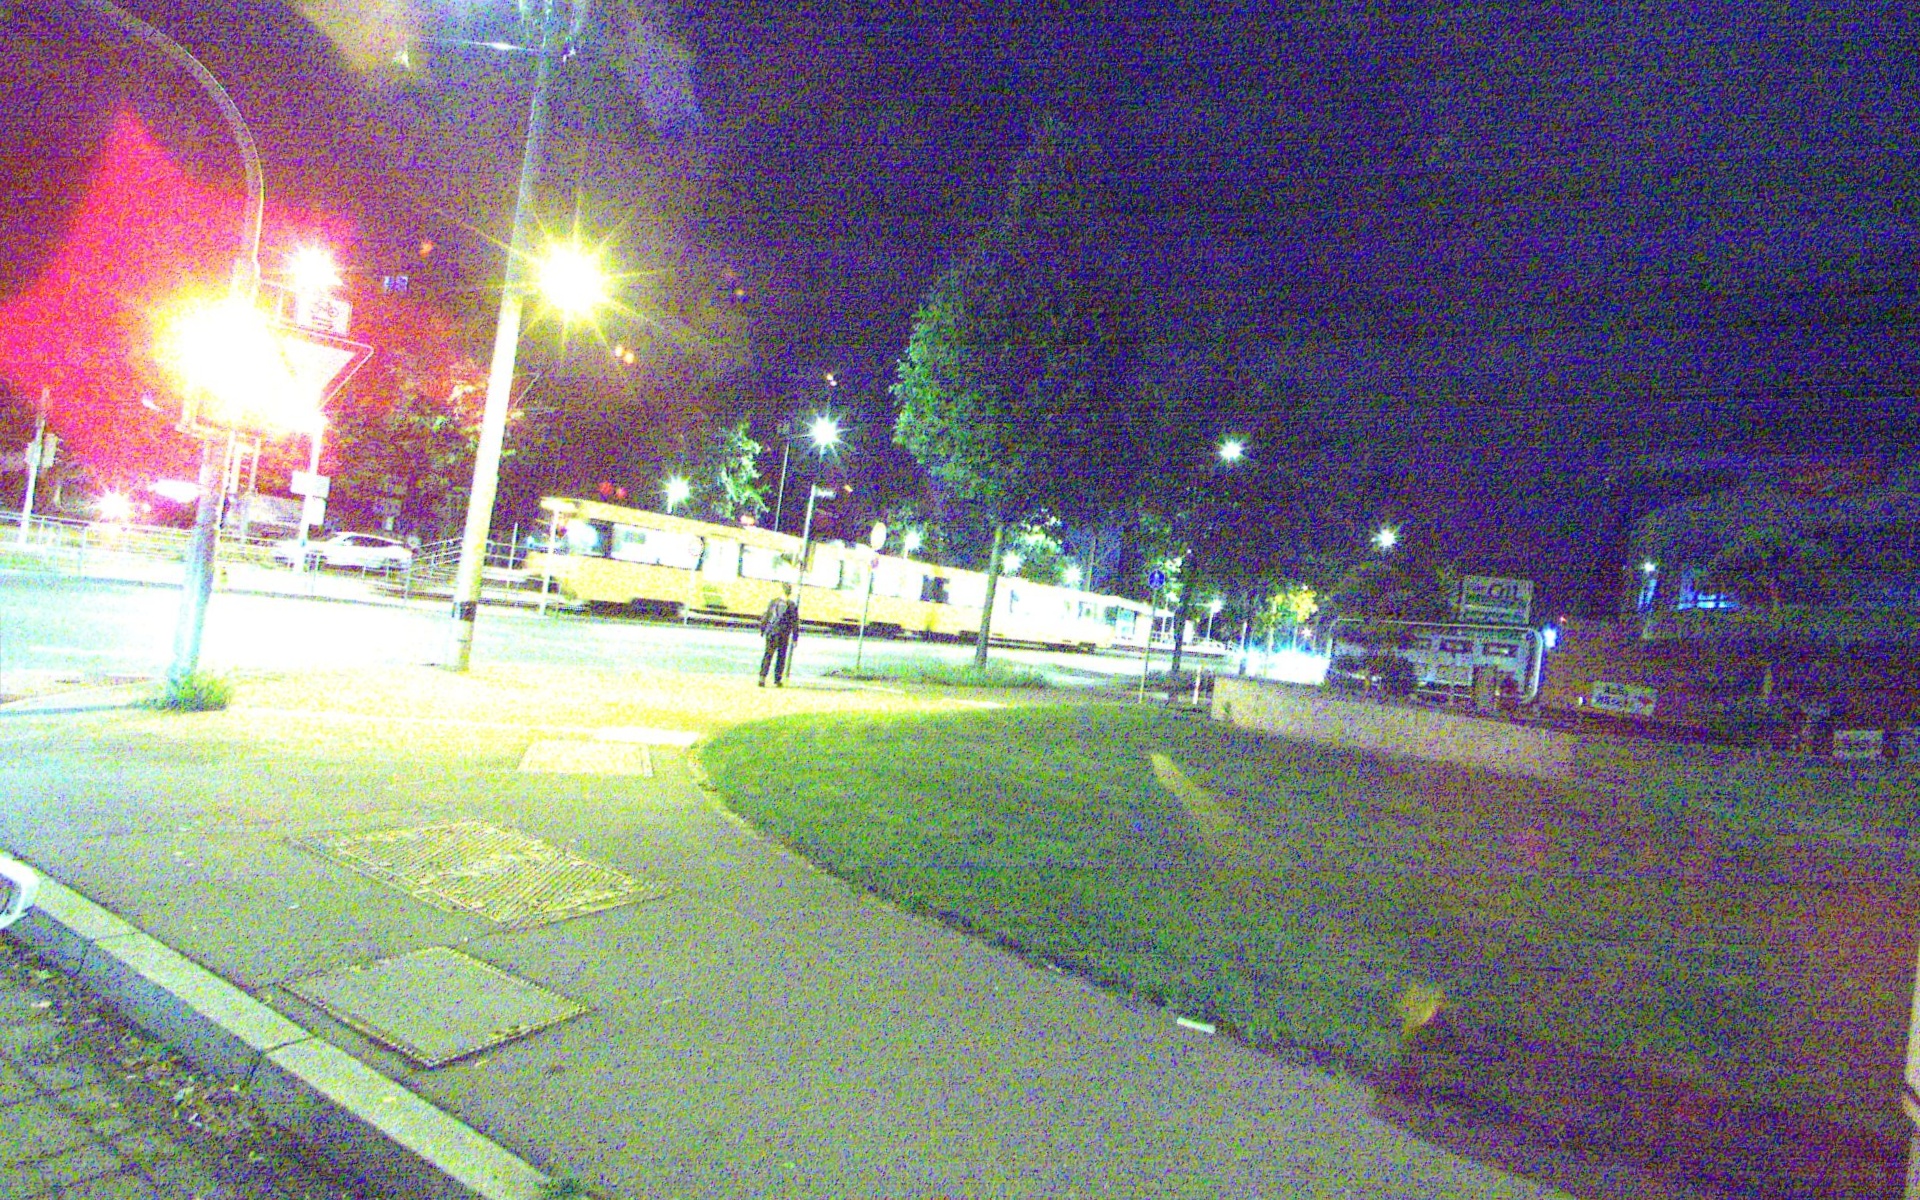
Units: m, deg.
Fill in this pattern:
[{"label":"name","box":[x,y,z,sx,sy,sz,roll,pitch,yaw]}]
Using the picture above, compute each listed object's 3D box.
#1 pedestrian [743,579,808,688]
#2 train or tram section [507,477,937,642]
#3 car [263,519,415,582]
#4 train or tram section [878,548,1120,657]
[{"label":"pedestrian","box":[-2.983,0.531,16.244,0.867,1.677,0.835,3,1,-18]},{"label":"train or tram section","box":[-7.714,-0.998,38.634,2.918,3.896,18.428,9,0,35]},{"label":"car","box":[-23.486,-1.832,38.190,1.910,1.662,4.406,5,-3,33]},{"label":"train or tram section","box":[2.936,0.501,53.921,2.919,3.894,18.866,5,-2,35]}]
